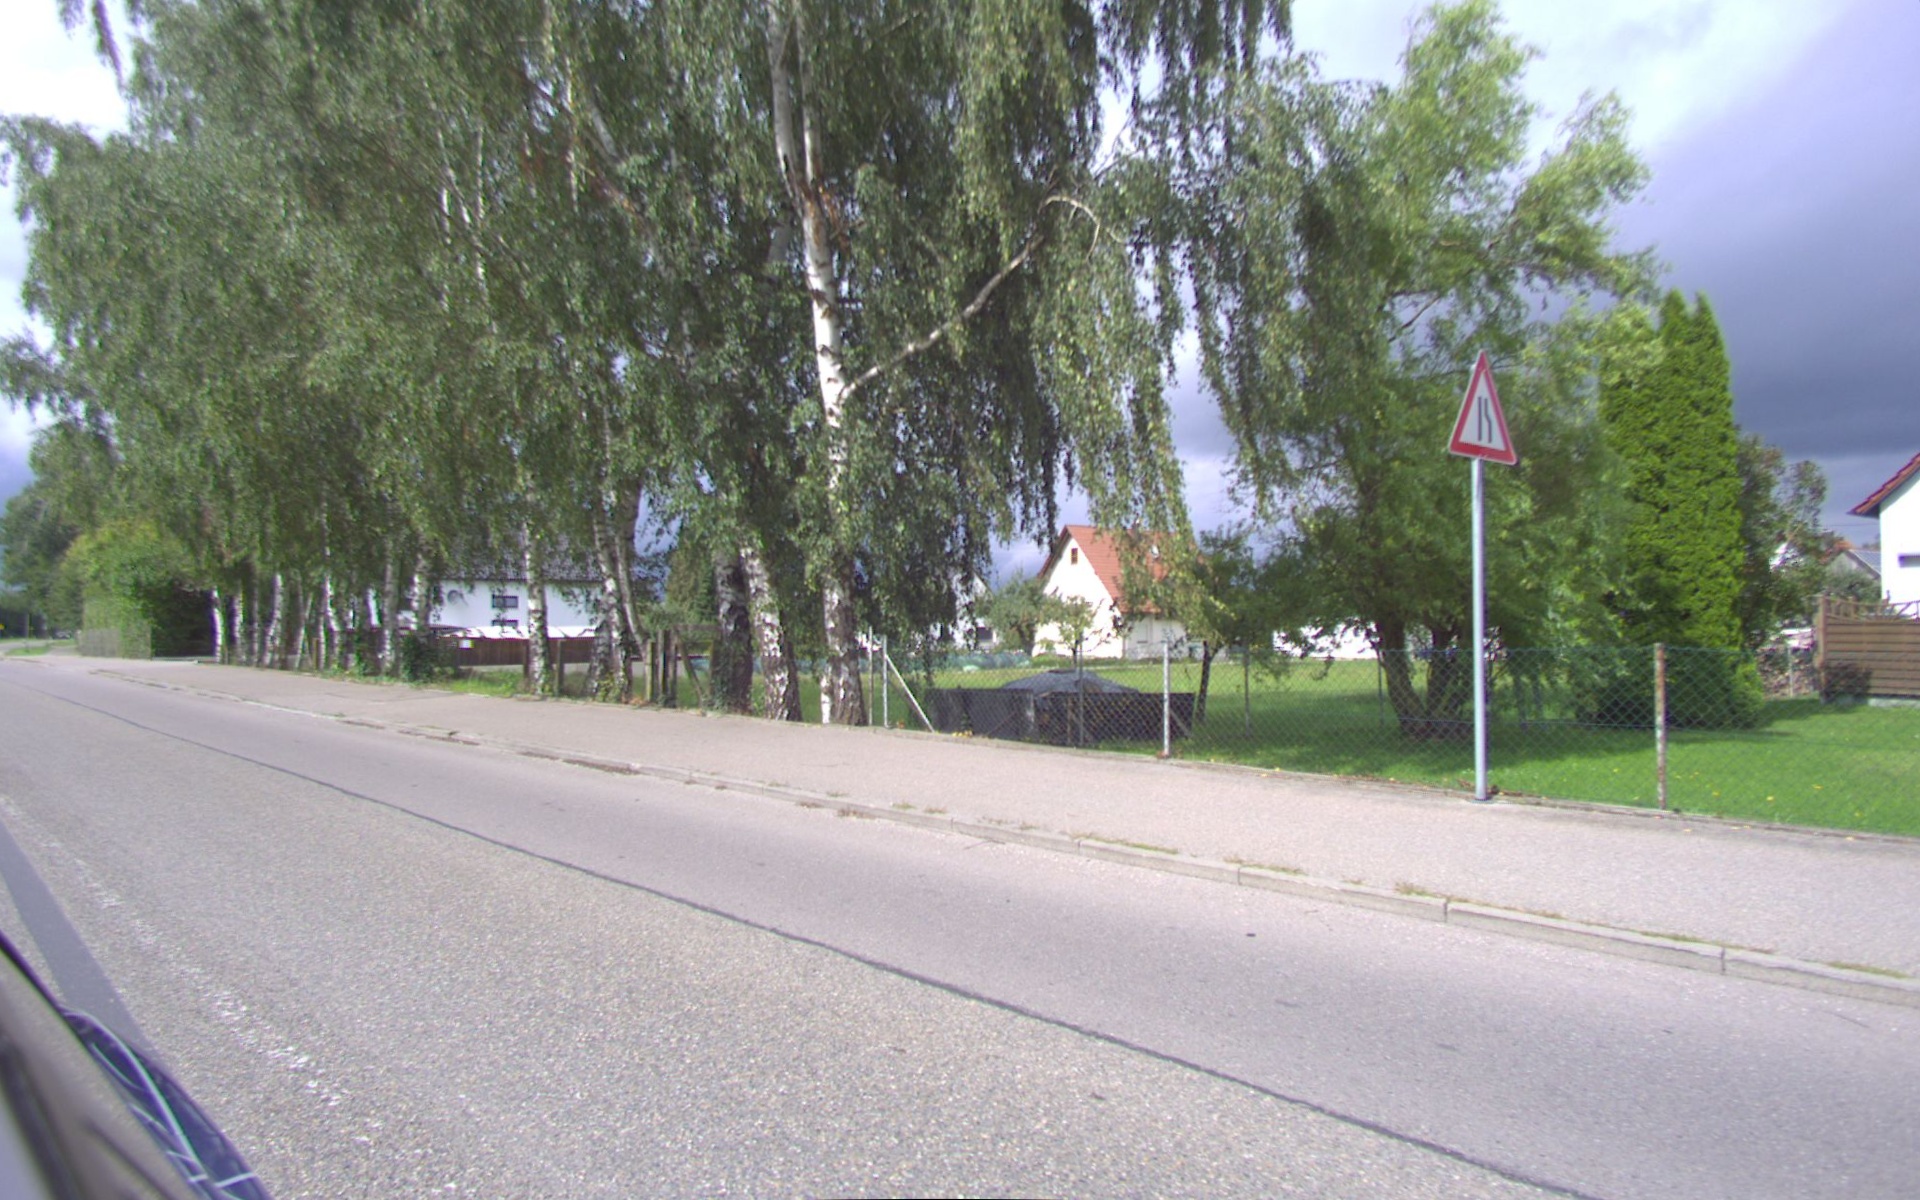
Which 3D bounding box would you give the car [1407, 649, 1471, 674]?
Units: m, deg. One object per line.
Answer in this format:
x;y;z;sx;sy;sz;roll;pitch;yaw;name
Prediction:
34.327;4.399;72.593;1.966;1.733;4.011;1;-3;-16;car
